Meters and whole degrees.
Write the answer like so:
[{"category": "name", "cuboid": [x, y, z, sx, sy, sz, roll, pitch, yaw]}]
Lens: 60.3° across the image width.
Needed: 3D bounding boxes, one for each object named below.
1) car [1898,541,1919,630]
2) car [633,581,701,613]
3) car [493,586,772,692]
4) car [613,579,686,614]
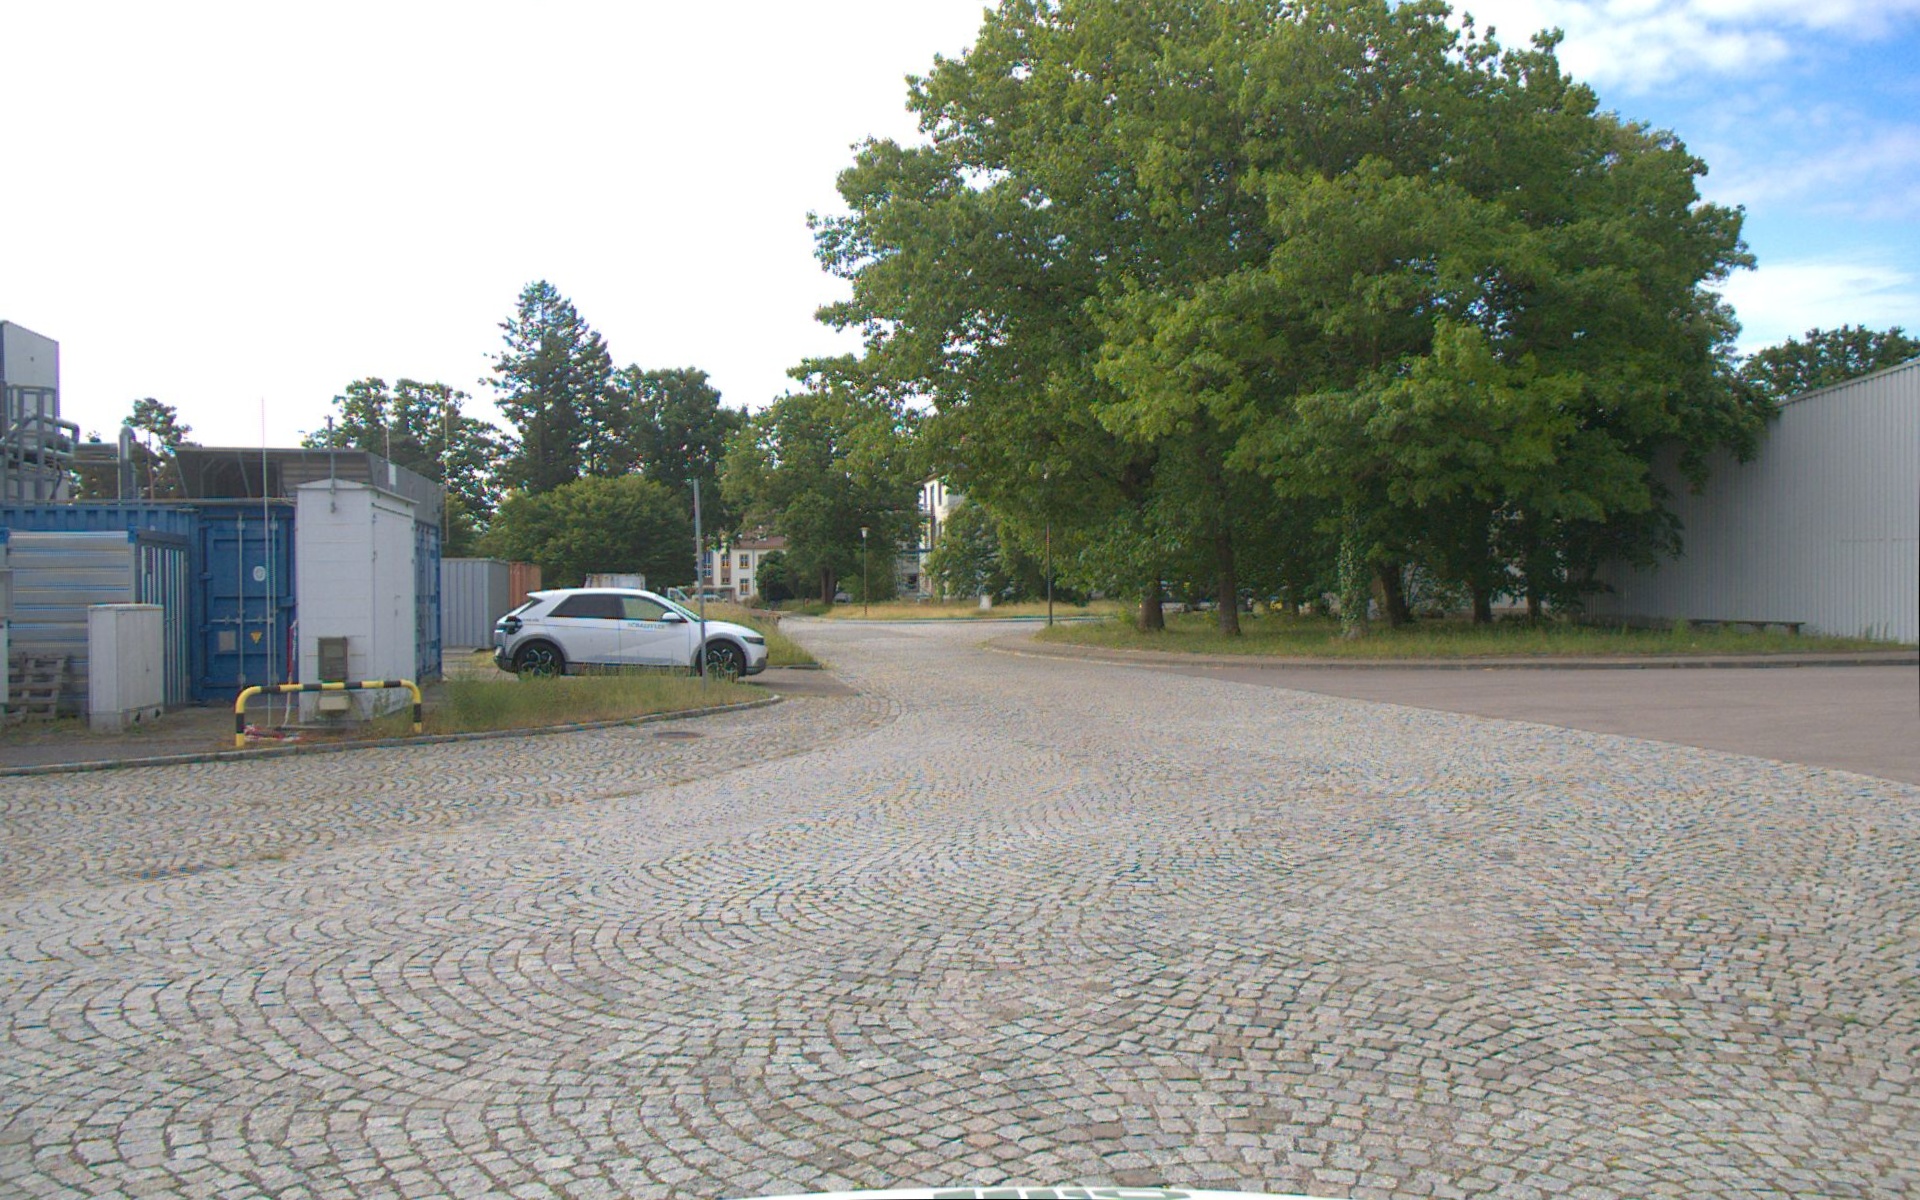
[{"category": "car", "cuboid": [23.486, -0.357, 36.195, 2.201, 2.049, 5.322, -1, 0, -11]}, {"category": "car", "cuboid": [-22.667, -0.227, 127.883, 5.077, 2.378, 1.995, -1, 0, -11]}, {"category": "car", "cuboid": [-5.447, 0.631, 28.002, 4.449, 1.627, 1.997, -1, 0, -8]}, {"category": "car", "cuboid": [-22.181, -0.285, 118.274, 5.077, 2.378, 1.995, -1, 0, -11]}]
